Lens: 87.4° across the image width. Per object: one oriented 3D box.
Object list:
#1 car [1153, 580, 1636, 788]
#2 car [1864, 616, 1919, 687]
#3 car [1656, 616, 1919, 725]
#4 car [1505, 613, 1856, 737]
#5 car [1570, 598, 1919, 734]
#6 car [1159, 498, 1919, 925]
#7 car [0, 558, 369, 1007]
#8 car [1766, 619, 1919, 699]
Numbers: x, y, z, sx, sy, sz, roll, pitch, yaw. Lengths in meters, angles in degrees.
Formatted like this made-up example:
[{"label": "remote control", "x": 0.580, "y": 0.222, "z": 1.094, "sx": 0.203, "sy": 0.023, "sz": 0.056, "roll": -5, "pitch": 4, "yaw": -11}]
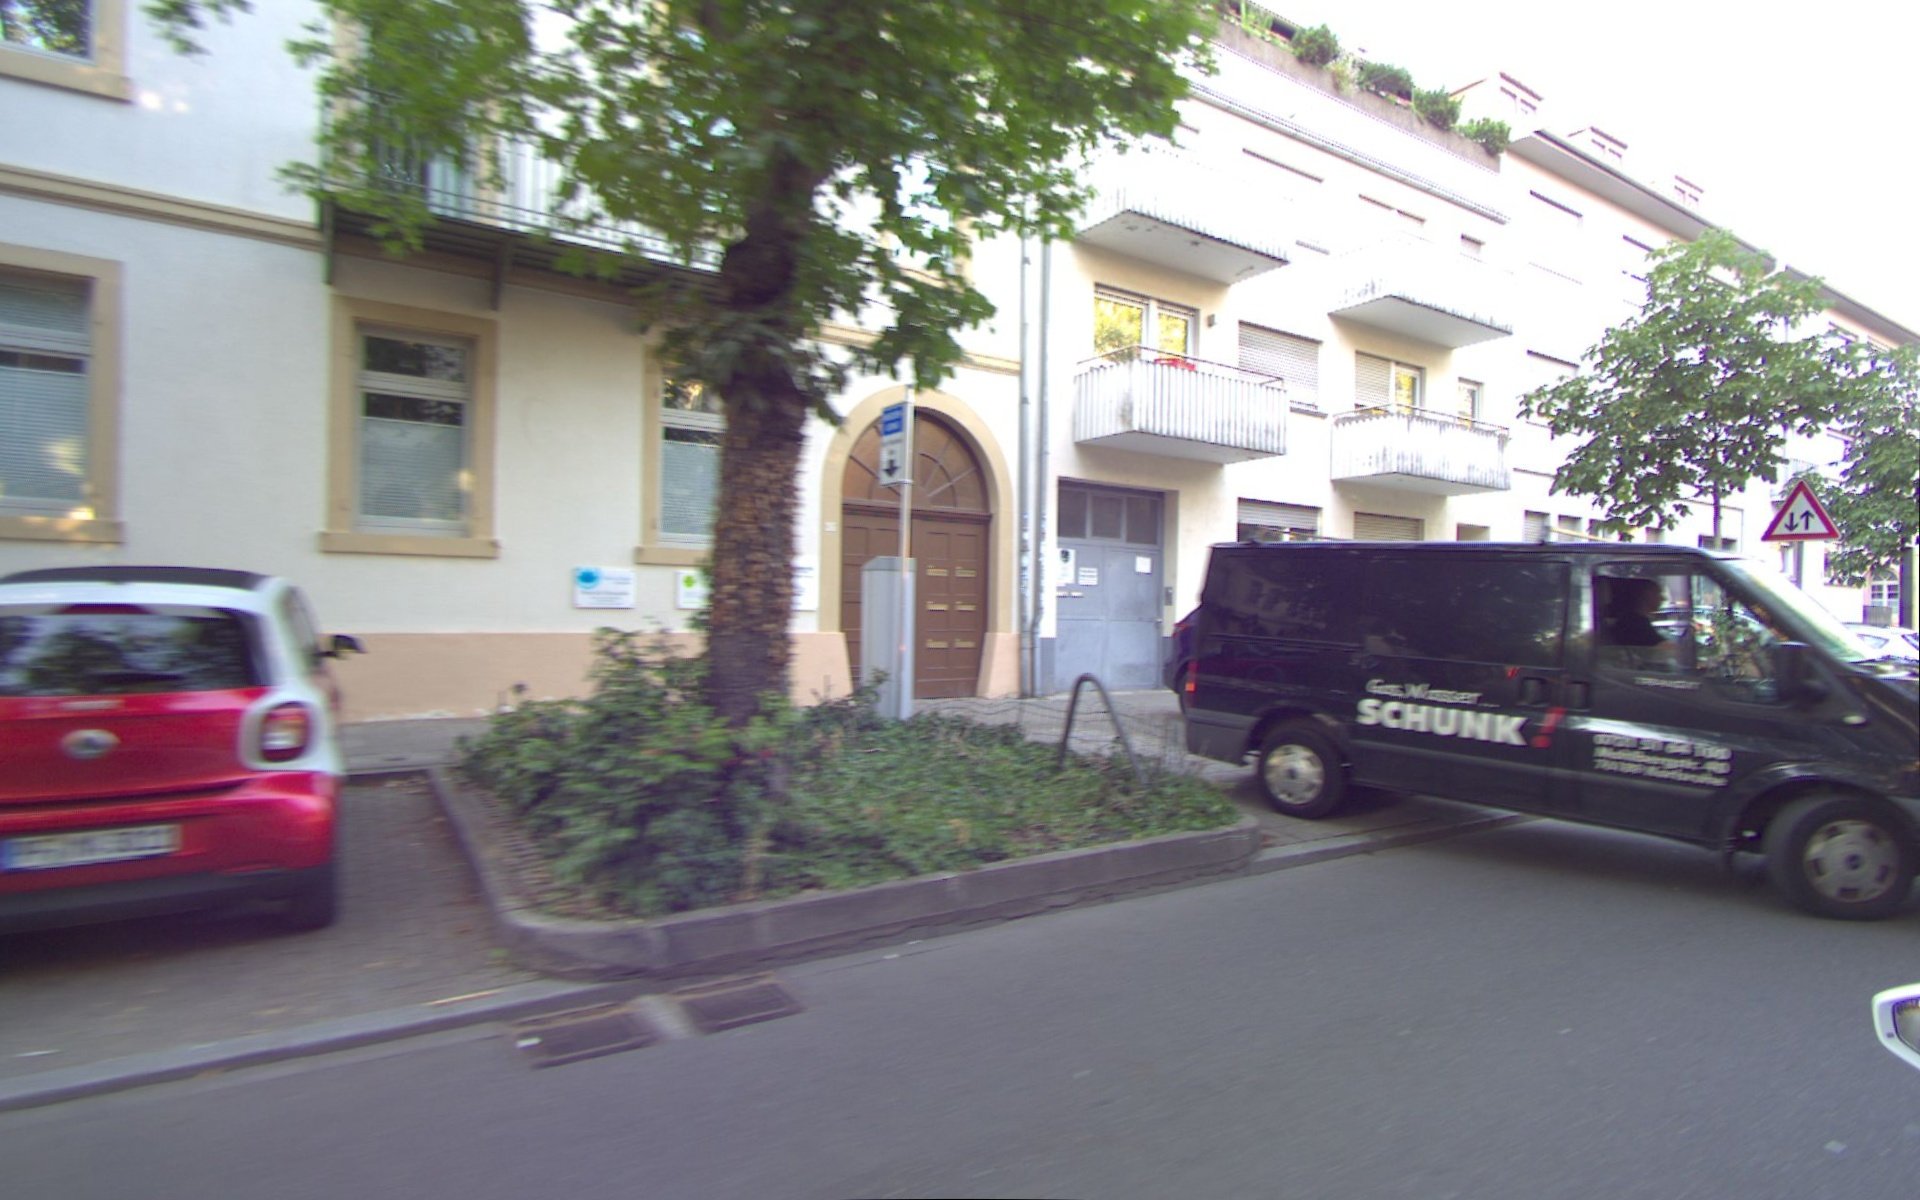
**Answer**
[{"label": "car", "x": 4.282, "y": 0.680, "z": 10.635, "sx": 1.909, "sy": 1.594, "sz": 4.329, "roll": 1, "pitch": 2, "yaw": -32}, {"label": "car", "x": 24.066, "y": 1.275, "z": 23.402, "sx": 1.914, "sy": 1.654, "sz": 4.071, "roll": 1, "pitch": 0, "yaw": -31}, {"label": "car", "x": 14.760, "y": 1.138, "z": 17.450, "sx": 1.759, "sy": 1.514, "sz": 4.011, "roll": 1, "pitch": 1, "yaw": -29}, {"label": "car", "x": 10.479, "y": 0.982, "z": 14.889, "sx": 1.834, "sy": 1.470, "sz": 3.823, "roll": 0, "pitch": 1, "yaw": -32}, {"label": "car", "x": 12.781, "y": 0.918, "z": 16.128, "sx": 2.134, "sy": 1.789, "sz": 4.638, "roll": 1, "pitch": 0, "yaw": -33}, {"label": "car", "x": 4.041, "y": 0.585, "z": 6.731, "sx": 4.938, "sy": 2.017, "sz": 2.177, "roll": -2, "pitch": -2, "yaw": 44}, {"label": "car", "x": -4.375, "y": 0.609, "z": 5.543, "sx": 1.752, "sy": 1.559, "sz": 4.329, "roll": 3, "pitch": 1, "yaw": -32}, {"label": "car", "x": 19.417, "y": 1.219, "z": 20.669, "sx": 1.735, "sy": 1.459, "sz": 4.053, "roll": 1, "pitch": 1, "yaw": -31}]
